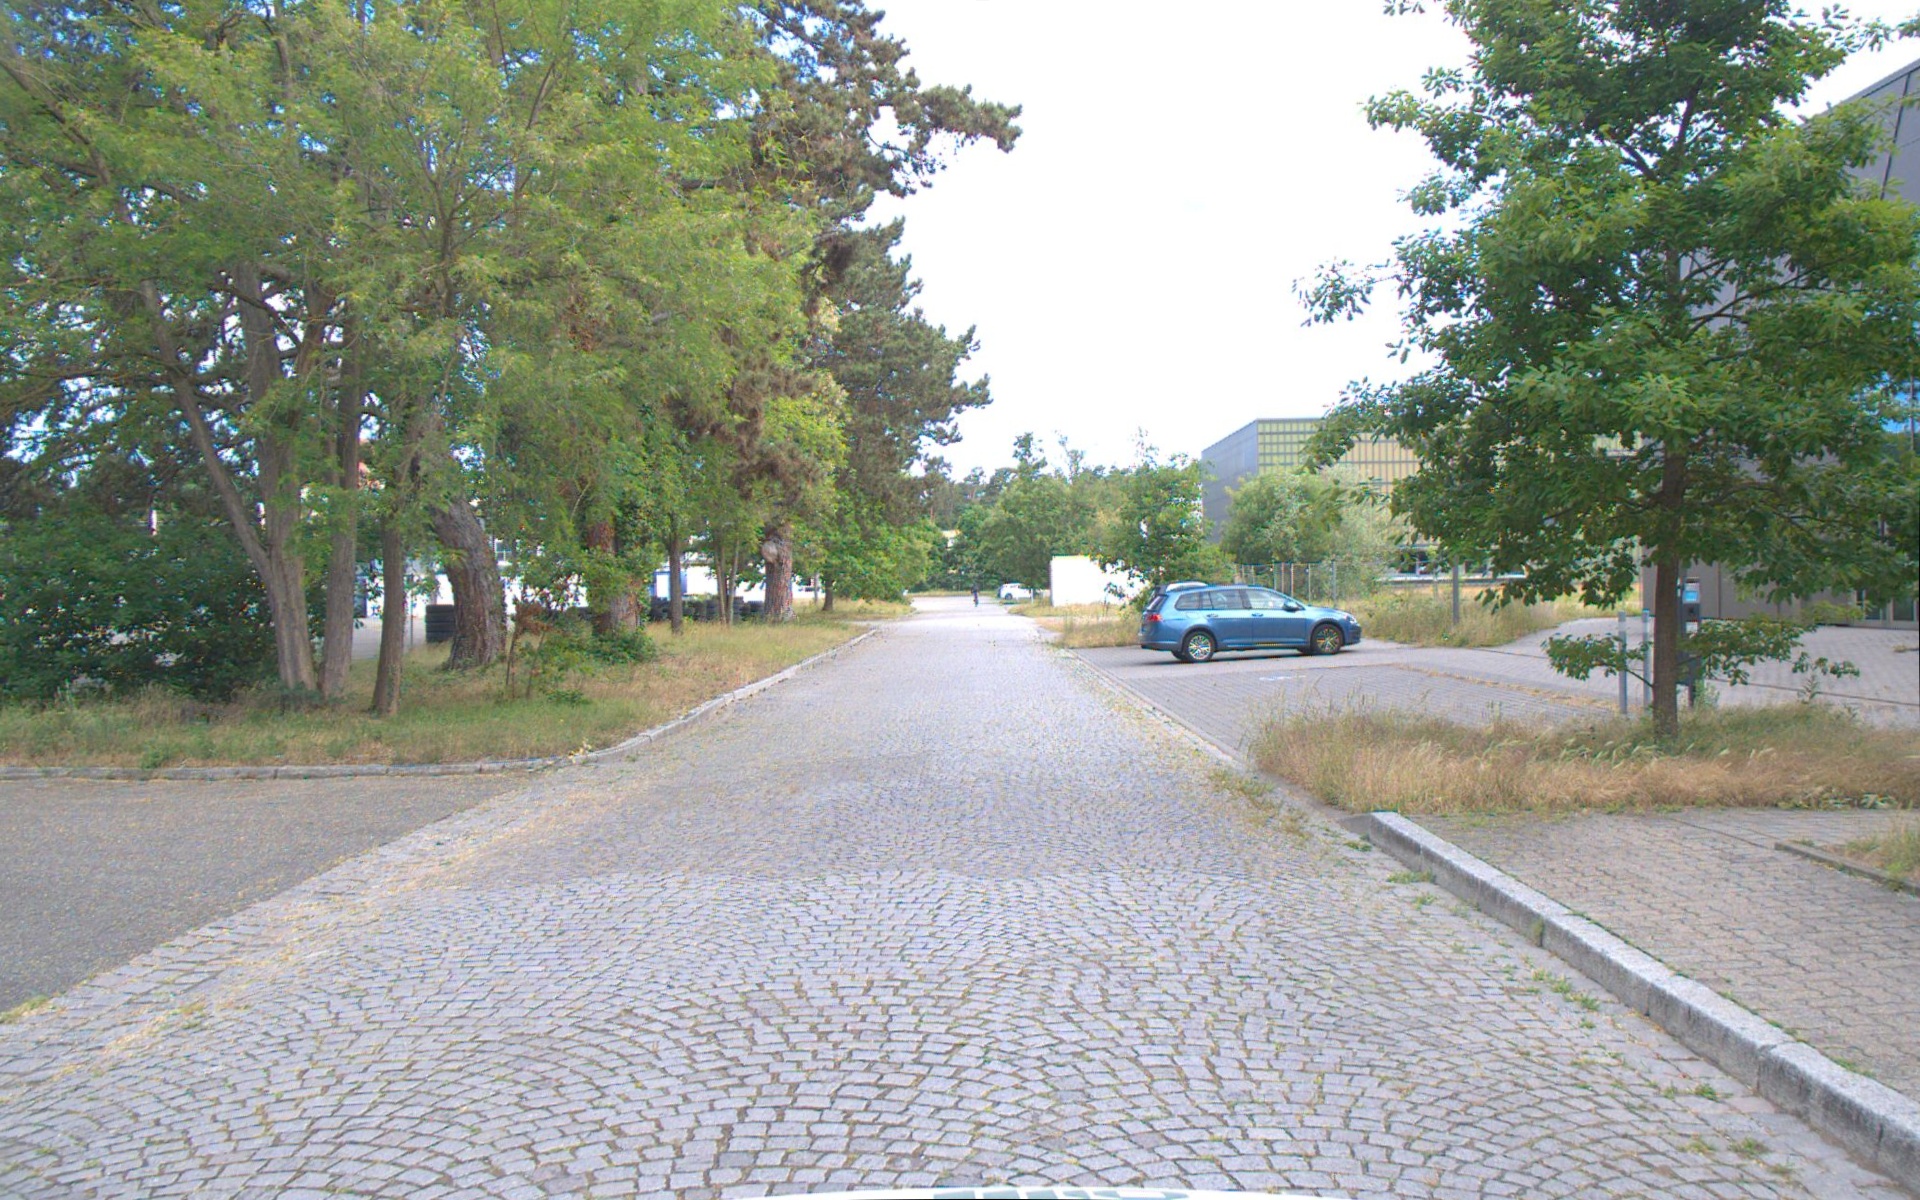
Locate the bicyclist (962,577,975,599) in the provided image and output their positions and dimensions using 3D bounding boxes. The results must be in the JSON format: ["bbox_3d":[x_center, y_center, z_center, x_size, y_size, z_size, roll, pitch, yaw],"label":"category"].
[{"bbox_3d":[0.610,-0.868,121.635,0.879,1.569,0.868,-1,1,-1],"label":"bicyclist"}]

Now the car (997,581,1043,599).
[{"bbox_3d":[5.549,-0.953,153.478,4.232,1.576,2.000,-1,1,1],"label":"car"}]

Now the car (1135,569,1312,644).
[{"bbox_3d":[6.512,0.140,41.116,4.025,1.599,1.764,-3,1,-3],"label":"car"}]

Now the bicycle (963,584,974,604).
[{"bbox_3d":[0.622,-0.447,121.598,0.807,1.400,2.042,-1,2,-1],"label":"bicycle"}]

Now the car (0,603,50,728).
[{"bbox_3d":[-12.369,0.851,18.843,1.695,1.457,4.161,-1,2,-1],"label":"car"}]

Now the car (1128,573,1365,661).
[{"bbox_3d":[5.774,0.316,33.661,4.391,1.488,1.934,-3,1,-3],"label":"car"}]
